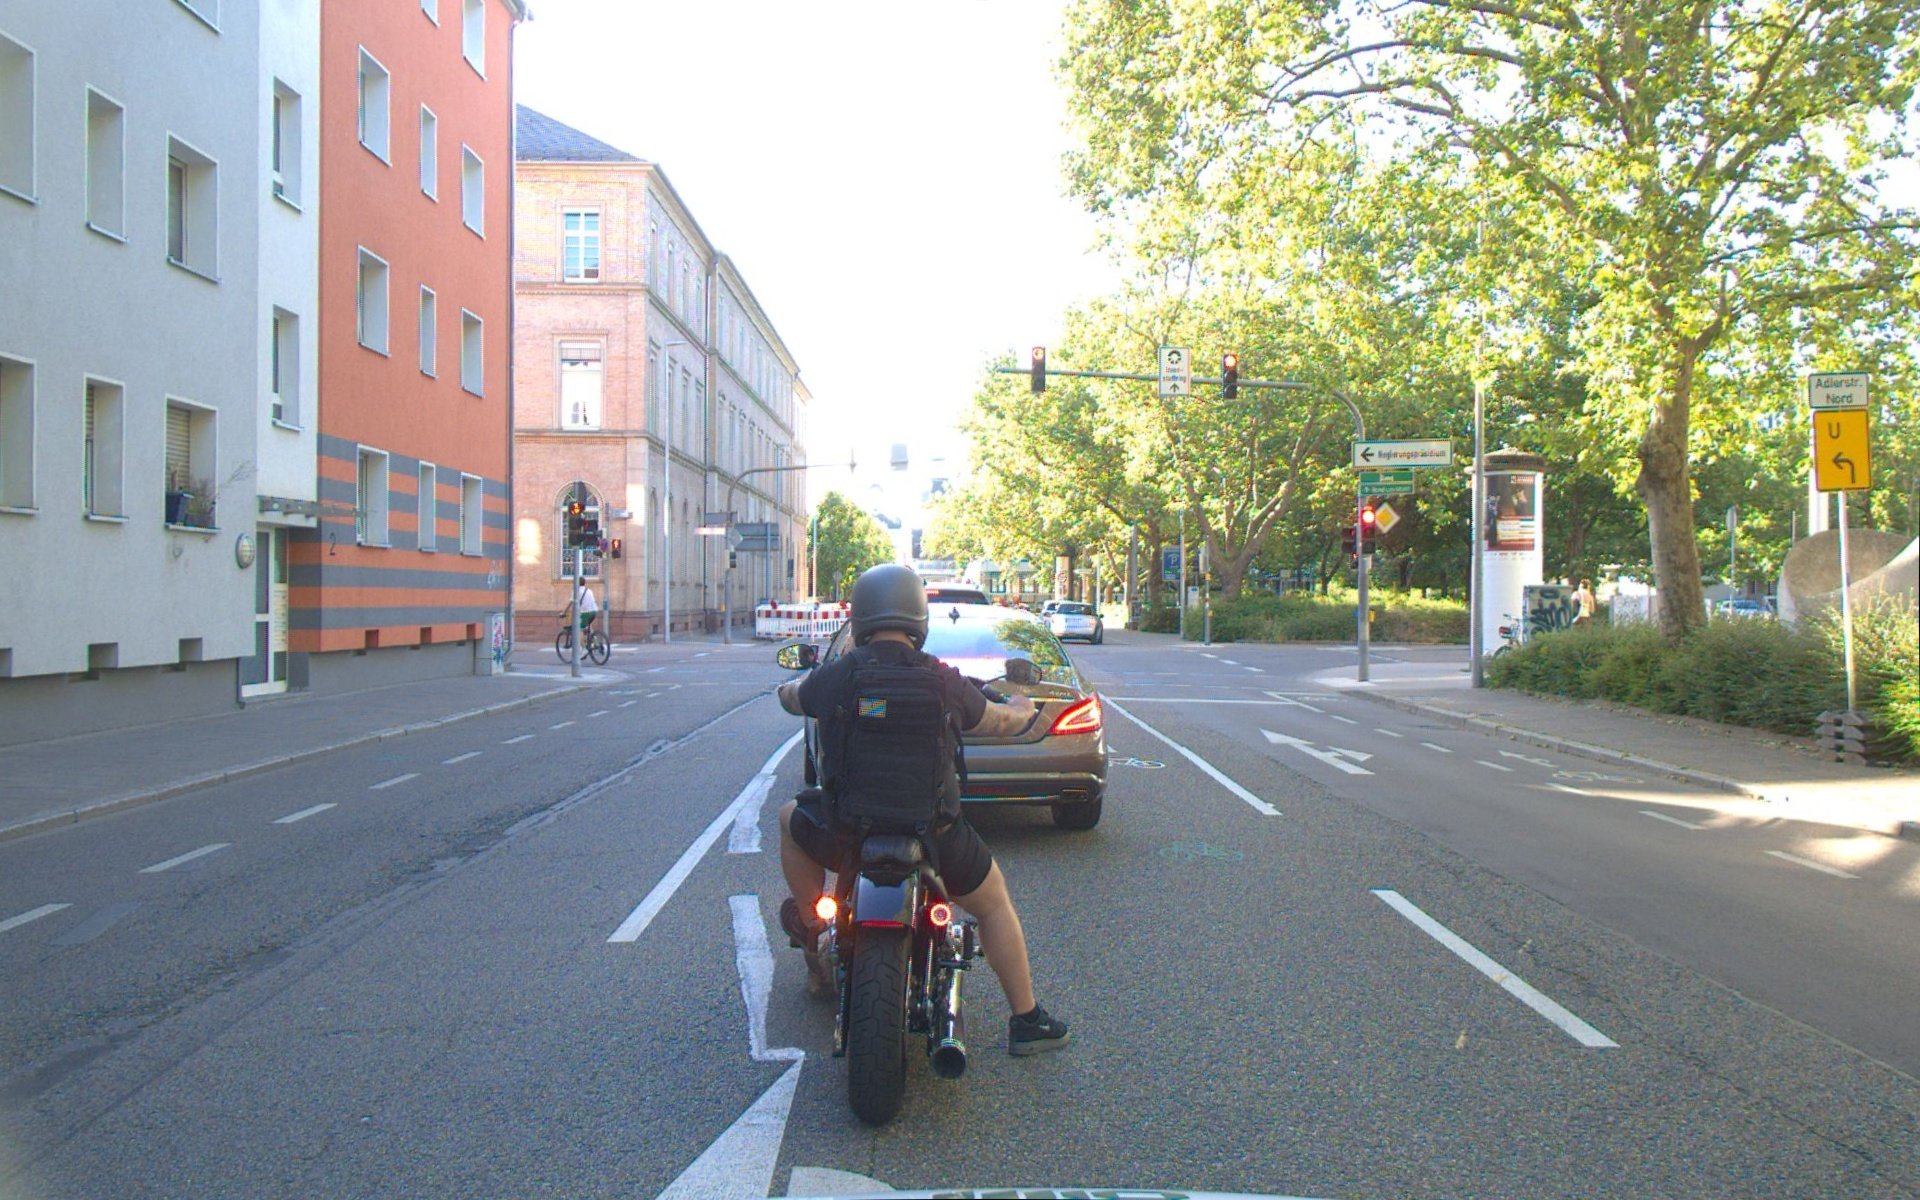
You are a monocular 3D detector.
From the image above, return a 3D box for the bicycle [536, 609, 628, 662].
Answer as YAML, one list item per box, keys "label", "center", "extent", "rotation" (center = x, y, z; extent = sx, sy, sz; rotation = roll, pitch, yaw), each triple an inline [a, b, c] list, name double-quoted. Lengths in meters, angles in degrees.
- label: "bicycle"
  center: [-8.213, 0.764, 35.921]
  extent: [1.833, 1.123, 0.706]
  rotation: [0, 0, 14]

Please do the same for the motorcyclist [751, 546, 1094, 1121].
- label: "motorcyclist"
  center: [-0.115, 0.657, 5.390]
  extent: [0.969, 1.625, 1.403]
  rotation: [0, 0, -1]

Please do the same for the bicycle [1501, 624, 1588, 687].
- label: "bicycle"
  center: [9.745, 0.919, 27.603]
  extent: [1.324, 1.041, 0.363]
  rotation: [0, 0, 0]

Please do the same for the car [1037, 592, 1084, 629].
- label: "car"
  center: [4.272, 0.451, 70.788]
  extent: [1.817, 1.512, 3.908]
  rotation: [1, 0, 1]

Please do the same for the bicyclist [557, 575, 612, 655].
- label: "bicyclist"
  center: [-8.149, 0.322, 35.923]
  extent: [0.941, 1.722, 0.706]
  rotation: [0, 0, 13]

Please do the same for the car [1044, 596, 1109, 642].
- label: "car"
  center: [4.072, 0.635, 57.400]
  extent: [1.782, 1.506, 3.912]
  rotation: [-1, 0, 11]

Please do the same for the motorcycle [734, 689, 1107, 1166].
- label: "motorcycle"
  center: [-0.120, 0.920, 5.545]
  extent: [0.969, 1.097, 2.451]
  rotation: [0, 0, -1]

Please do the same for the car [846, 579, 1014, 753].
- label: "car"
  center: [-0.337, 0.613, 17.748]
  extent: [1.580, 1.636, 4.327]
  rotation: [0, 0, -2]

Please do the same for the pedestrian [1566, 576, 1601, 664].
- label: "pedestrian"
  center: [13.413, 0.417, 35.593]
  extent: [0.540, 1.881, 0.593]
  rotation: [0, 0, 0]

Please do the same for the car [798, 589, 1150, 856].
- label: "car"
  center: [-0.115, 0.679, 11.585]
  extent: [1.909, 1.498, 4.355]
  rotation: [0, 0, -7]
